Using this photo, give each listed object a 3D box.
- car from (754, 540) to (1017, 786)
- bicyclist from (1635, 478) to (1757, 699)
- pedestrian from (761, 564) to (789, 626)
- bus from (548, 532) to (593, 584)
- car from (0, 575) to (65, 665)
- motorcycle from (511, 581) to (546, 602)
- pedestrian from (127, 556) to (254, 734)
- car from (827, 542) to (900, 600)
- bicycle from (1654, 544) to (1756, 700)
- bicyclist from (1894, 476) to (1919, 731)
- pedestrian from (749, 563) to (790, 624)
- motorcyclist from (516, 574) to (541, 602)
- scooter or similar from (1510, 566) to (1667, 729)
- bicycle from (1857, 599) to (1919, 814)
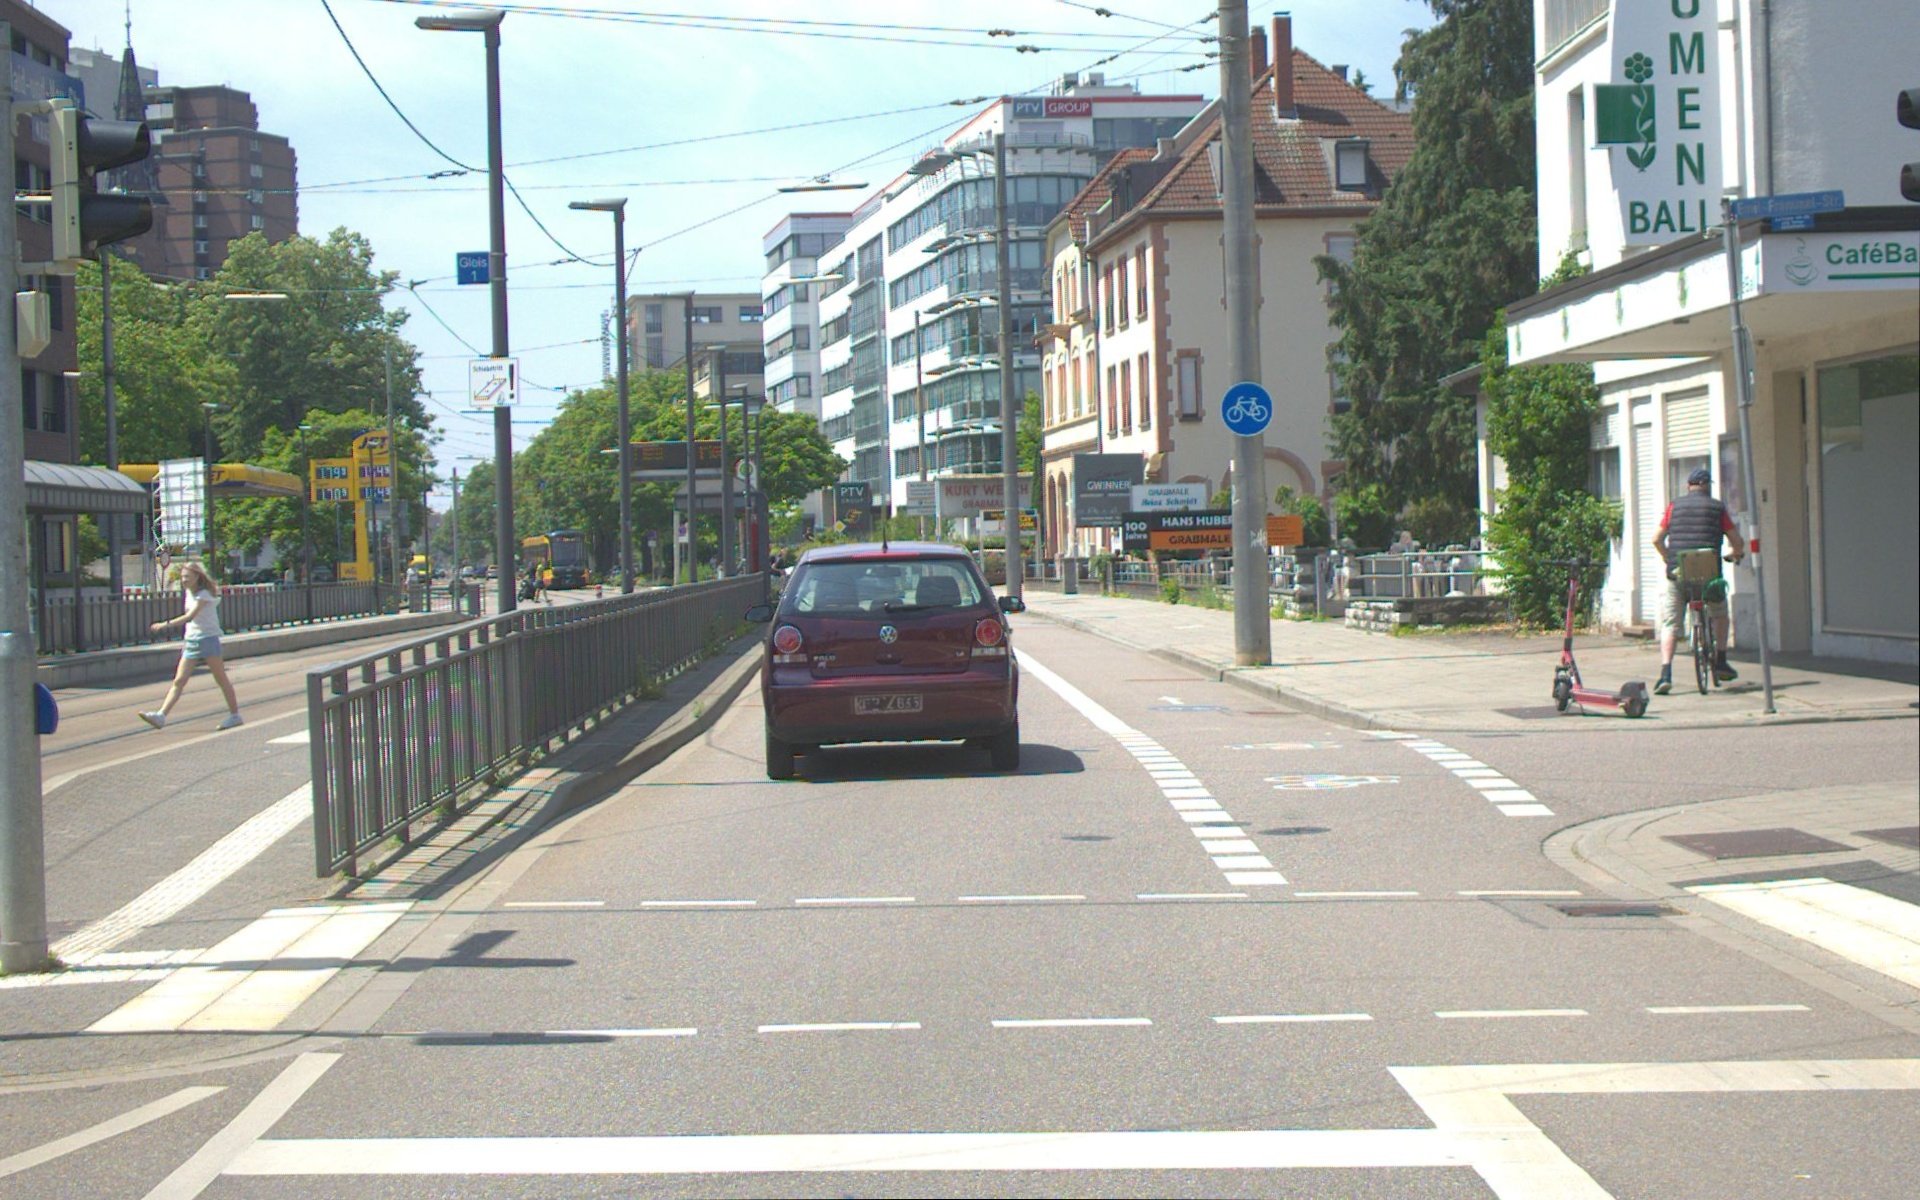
[{"bbox_3d":[-0.509,0.367,22.543,1.561,1.448,3.062,-2,1,-2],"label":"car"},{"bbox_3d":[5.997,-0.100,27.990,0.728,1.754,0.922,-2,1,26],"label":"bicyclist"},{"bbox_3d":[-5.553,-0.166,103.238,0.744,1.830,0.792,-2,1,-4],"label":"pedestrian"},{"bbox_3d":[-23.143,-2.490,204.071,2.144,2.993,6.575,-2,1,-10],"label":"bus"},{"bbox_3d":[-17.604,0.366,61.542,1.993,1.503,4.000,-2,1,1],"label":"car"},{"bbox_3d":[-17.976,-0.340,143.167,0.872,0.803,1.909,-2,1,11],"label":"motorcycle"},{"bbox_3d":[-7.432,0.423,33.236,1.096,1.669,0.766,-2,0,-8],"label":"pedestrian"},{"bbox_3d":[-2.865,-0.866,101.370,1.993,1.619,4.632,-2,1,-3],"label":"car"},{"bbox_3d":[6.058,0.161,27.903,0.376,1.193,1.903,-2,1,25],"label":"bicycle"},{"bbox_3d":[5.029,0.179,16.154,0.832,1.612,0.860,-6,1,-5],"label":"bicyclist"},{"bbox_3d":[-5.794,-0.203,104.652,1.168,1.830,0.792,-2,1,-4],"label":"pedestrian"},{"bbox_3d":[-17.970,-0.509,143.179,0.850,1.136,0.634,-2,1,11],"label":"motorcyclist"},{"bbox_3d":[4.706,0.348,25.798,0.339,1.174,1.468,-2,1,-25],"label":"scooter or similar"},{"bbox_3d":[4.929,0.501,16.196,0.668,0.999,1.864,-6,1,-5],"label":"bicycle"}]
